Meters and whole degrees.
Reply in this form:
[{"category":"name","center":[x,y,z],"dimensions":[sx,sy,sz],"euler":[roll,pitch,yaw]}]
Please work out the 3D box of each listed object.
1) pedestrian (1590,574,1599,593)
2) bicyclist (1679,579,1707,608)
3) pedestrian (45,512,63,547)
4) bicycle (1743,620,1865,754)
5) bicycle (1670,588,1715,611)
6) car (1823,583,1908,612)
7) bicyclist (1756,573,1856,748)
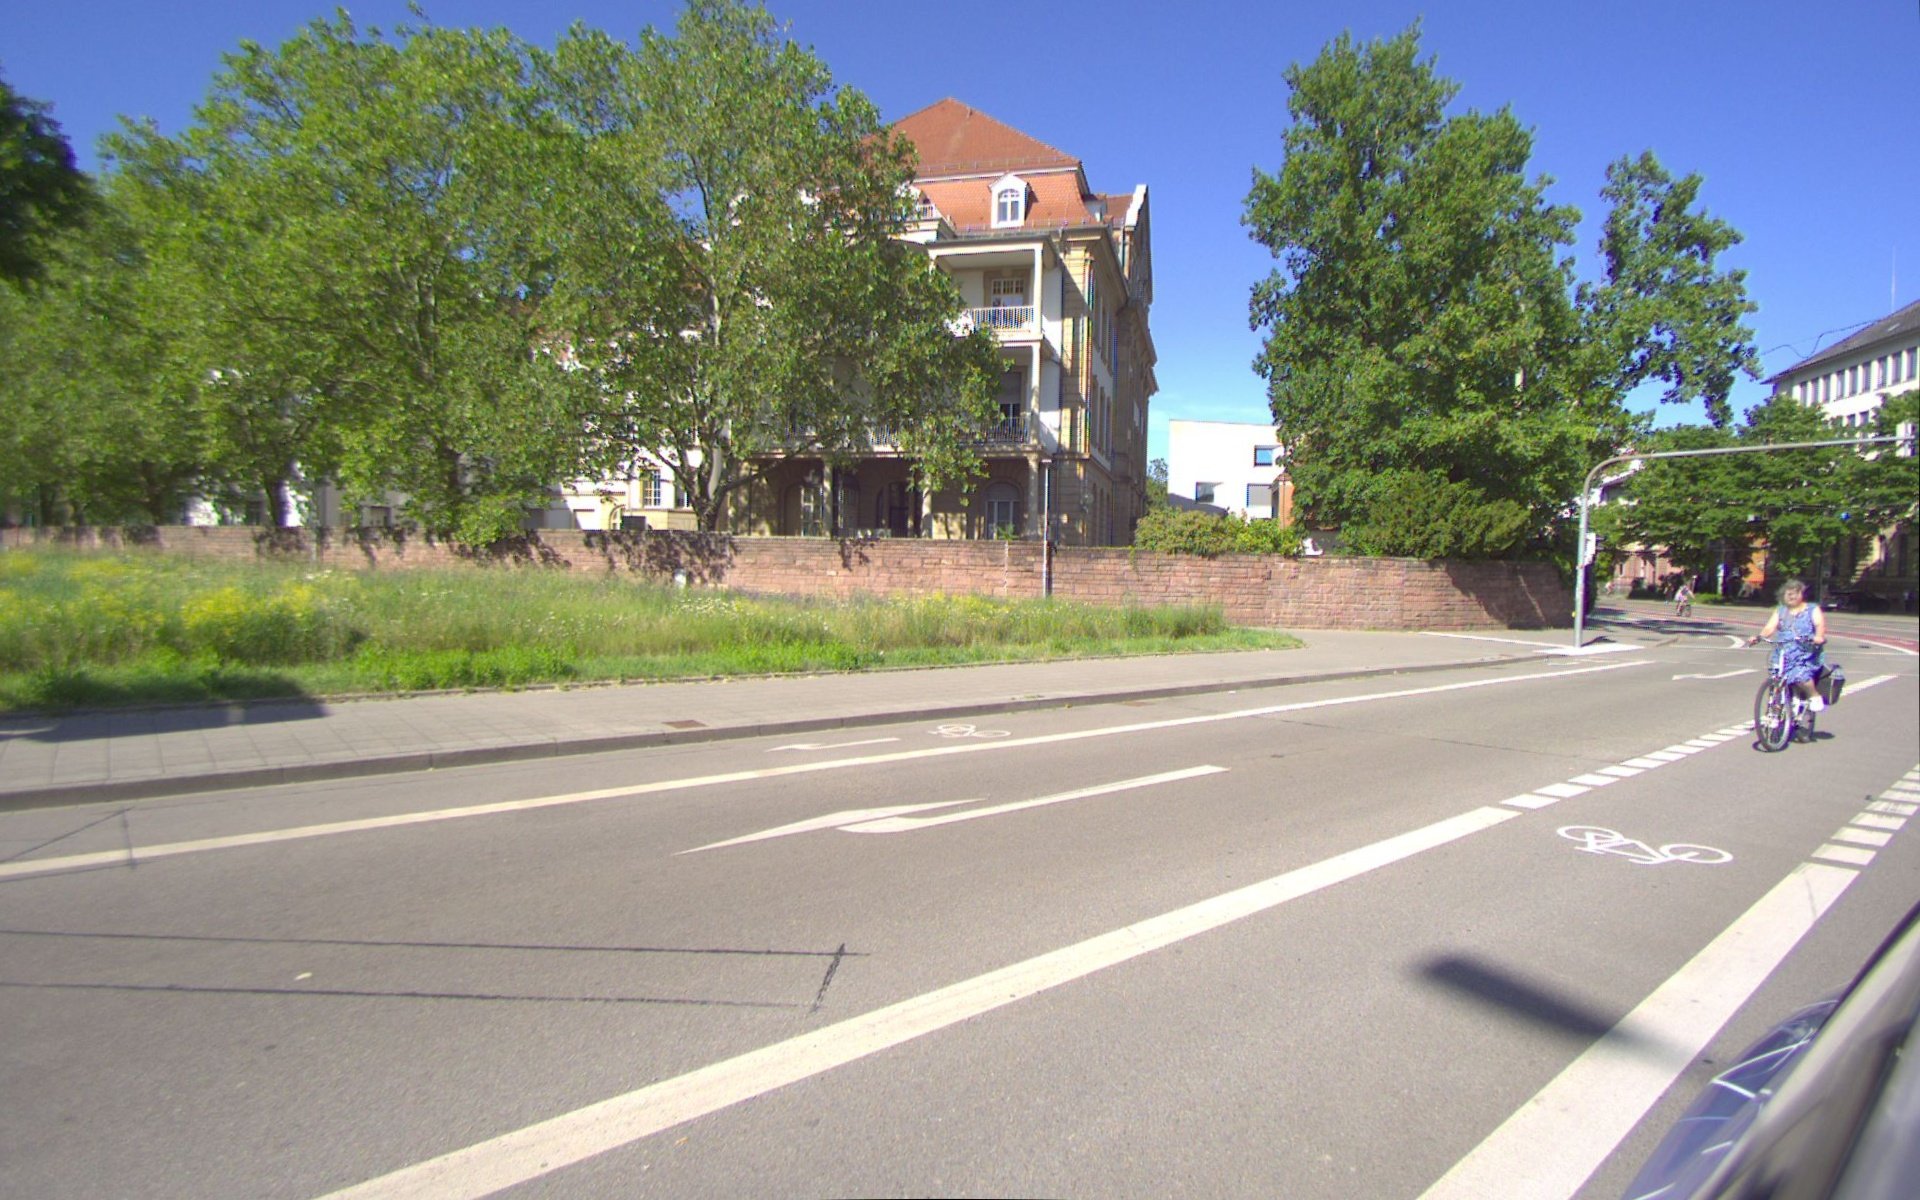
[{"category":"pedestrian","center":[54.879,-1.446,87.545],"dimensions":[0.631,1.631,0.837],"euler":[0,0,30]},{"category":"bicyclist","center":[39.972,-0.359,55.212],"dimensions":[0.763,1.571,0.921],"euler":[1,1,-13]},{"category":"pedestrian","center":[-43.438,-3.367,48.509],"dimensions":[0.642,1.631,0.557],"euler":[0,0,-42]},{"category":"bicycle","center":[8.592,0.824,10.275],"dimensions":[1.933,1.179,0.642],"euler":[0,1,-41]},{"category":"bicycle","center":[39.965,-0.040,55.249],"dimensions":[0.763,1.179,1.972],"euler":[0,1,-13]},{"category":"car","center":[60.931,-0.194,68.135],"dimensions":[3.731,1.838,1.999],"euler":[1,2,3]},{"category":"bicyclist","center":[8.582,0.570,10.266],"dimensions":[0.763,1.683,0.642],"euler":[-1,2,-41]}]
